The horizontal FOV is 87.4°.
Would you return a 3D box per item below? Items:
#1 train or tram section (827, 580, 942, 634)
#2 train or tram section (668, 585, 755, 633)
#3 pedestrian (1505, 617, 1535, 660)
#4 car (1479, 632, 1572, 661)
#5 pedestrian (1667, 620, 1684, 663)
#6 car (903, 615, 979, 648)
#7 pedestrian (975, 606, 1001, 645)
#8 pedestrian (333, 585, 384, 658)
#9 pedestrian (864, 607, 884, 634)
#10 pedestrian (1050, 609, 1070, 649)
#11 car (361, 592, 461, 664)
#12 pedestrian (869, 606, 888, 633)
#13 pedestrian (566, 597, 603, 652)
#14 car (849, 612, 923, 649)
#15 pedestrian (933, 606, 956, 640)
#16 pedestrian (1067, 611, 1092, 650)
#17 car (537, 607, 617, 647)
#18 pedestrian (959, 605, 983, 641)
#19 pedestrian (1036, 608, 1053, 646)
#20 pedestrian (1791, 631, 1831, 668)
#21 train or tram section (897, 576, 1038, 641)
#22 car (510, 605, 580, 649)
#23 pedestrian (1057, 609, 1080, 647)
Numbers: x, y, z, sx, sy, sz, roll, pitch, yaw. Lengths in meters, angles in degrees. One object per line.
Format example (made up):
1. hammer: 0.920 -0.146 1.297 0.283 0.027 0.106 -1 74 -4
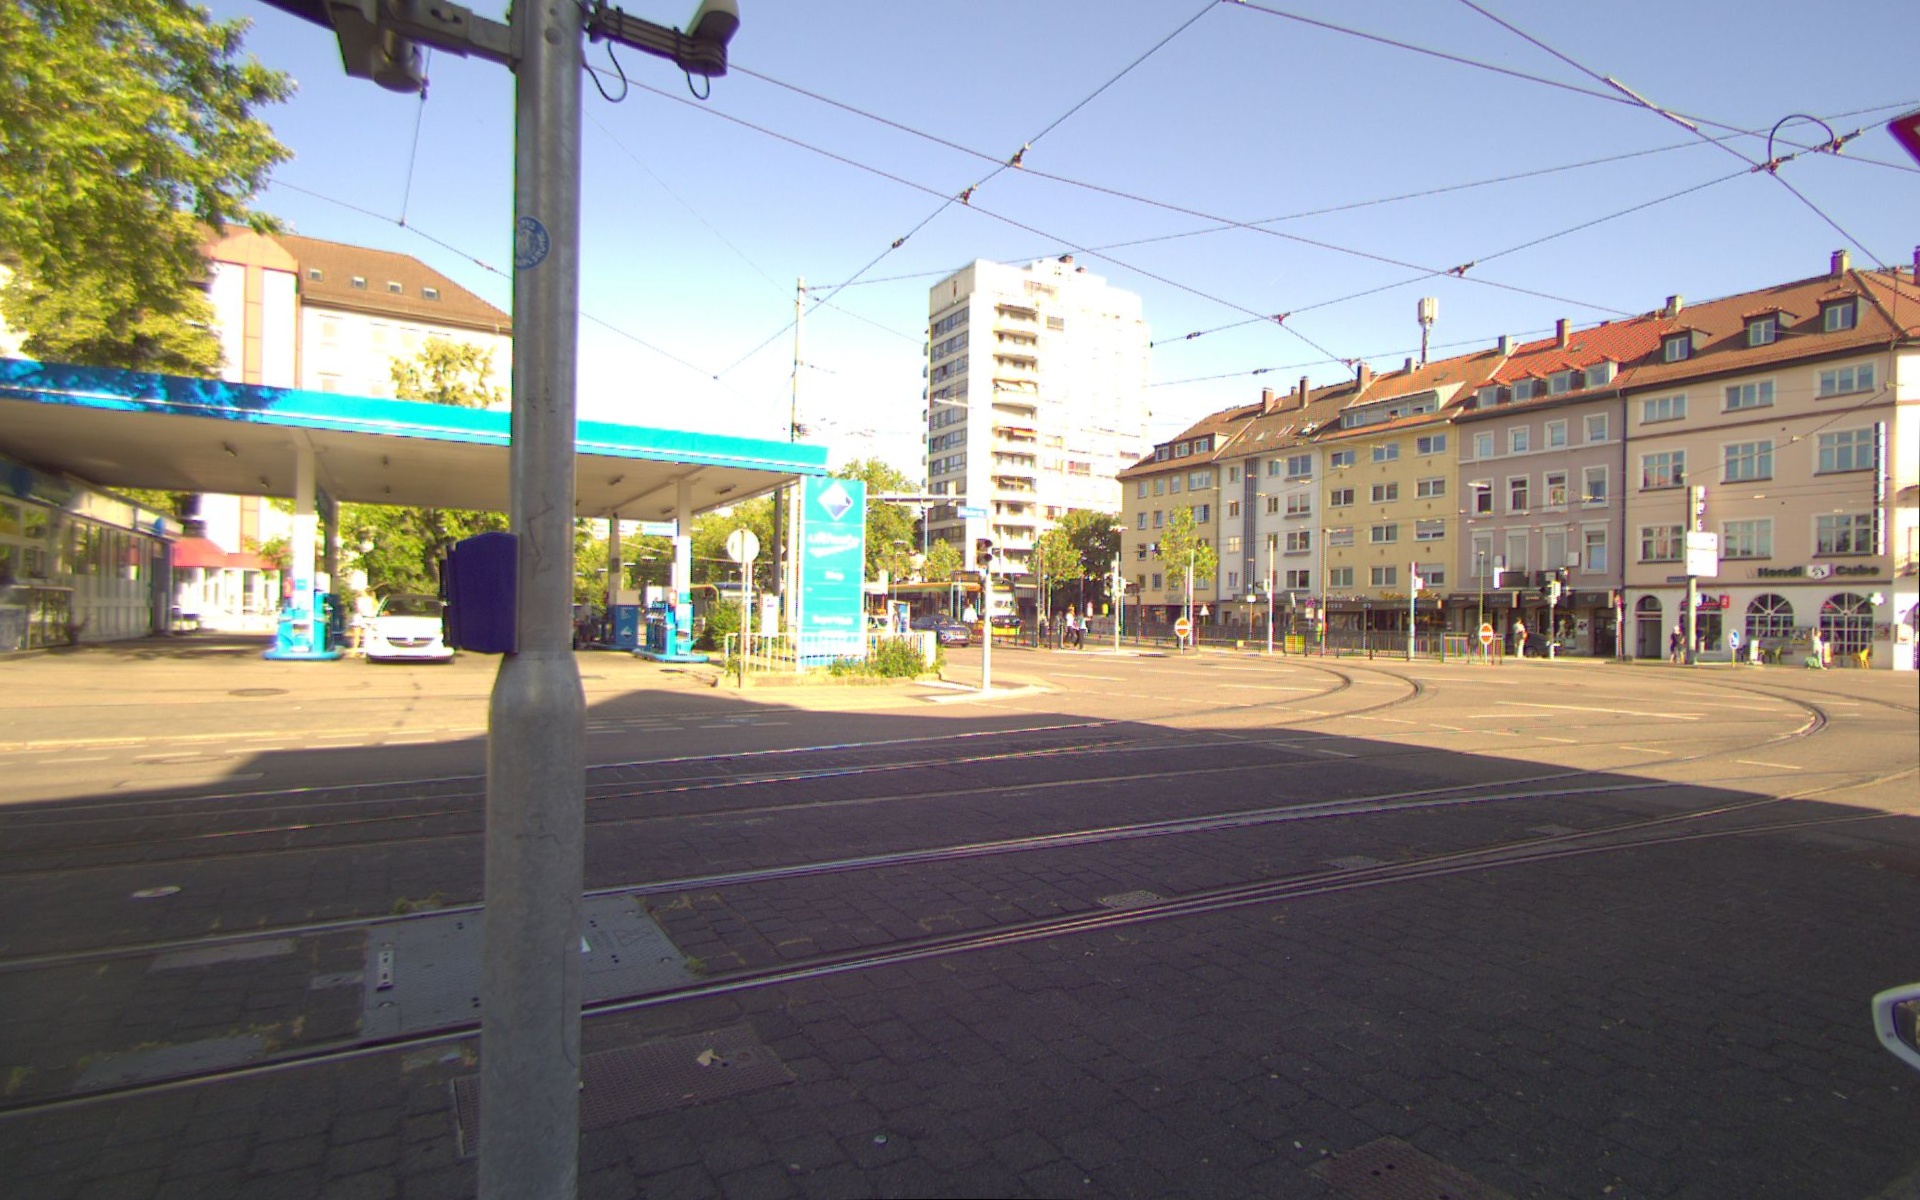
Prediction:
1. train or tram section: -5.254 0.519 67.583 3.252 3.335 10.157 1 -1 -33
2. train or tram section: -15.035 0.450 60.041 2.233 2.627 10.398 2 0 -30
3. pedestrian: 24.491 1.693 43.954 0.801 1.842 0.871 1 -1 -29
4. car: 30.771 2.495 54.713 1.980 1.483 3.962 1 -1 -34
5. pedestrian: 34.206 1.982 48.019 0.498 2.040 0.507 1 -1 -27
6. car: -0.963 1.490 48.349 1.937 1.475 4.077 1 0 -30
7. pedestrian: 1.334 1.226 48.420 0.902 1.826 0.887 1 -1 -33
8. pedestrian: -13.907 0.503 23.237 0.636 1.652 0.810 0 -1 36
9. pedestrian: -5.350 1.259 62.622 0.902 1.646 0.887 1 -1 -33
10. pedestrian: 4.391 1.265 44.060 0.549 1.721 0.740 1 -1 -33
11. car: -12.278 0.605 22.435 1.773 1.461 3.968 2 -1 -30
12. pedestrian: -5.177 1.241 63.672 0.902 1.646 0.887 1 -1 -33
13. pedestrian: -12.625 0.823 33.814 0.894 1.826 0.895 1 -1 -1
14. car: -3.511 1.392 46.807 1.976 1.615 3.970 1 -1 -29
15. pedestrian: -0.836 1.261 54.541 0.902 1.826 0.887 1 -1 -33
16. pedestrian: 5.089 1.304 42.932 0.791 1.646 0.706 1 -1 -33
17. car: -17.209 1.211 45.384 1.960 1.685 4.001 1 -1 2
18. pedestrian: 0.549 1.176 51.636 0.902 1.826 0.887 1 -1 -33
19. pedestrian: 3.825 1.211 45.516 0.491 1.721 0.553 1 -1 -33
20. pedestrian: 37.993 2.181 44.824 1.029 1.612 1.061 1 -1 -28
21. train or tram section: 0.226 0.516 58.964 3.252 3.459 10.157 1 -1 -33
22. car: -13.508 0.863 32.579 1.752 1.332 3.520 1 -1 -28
23. pedestrian: 5.020 1.290 46.417 0.773 1.721 0.692 1 -1 -33
